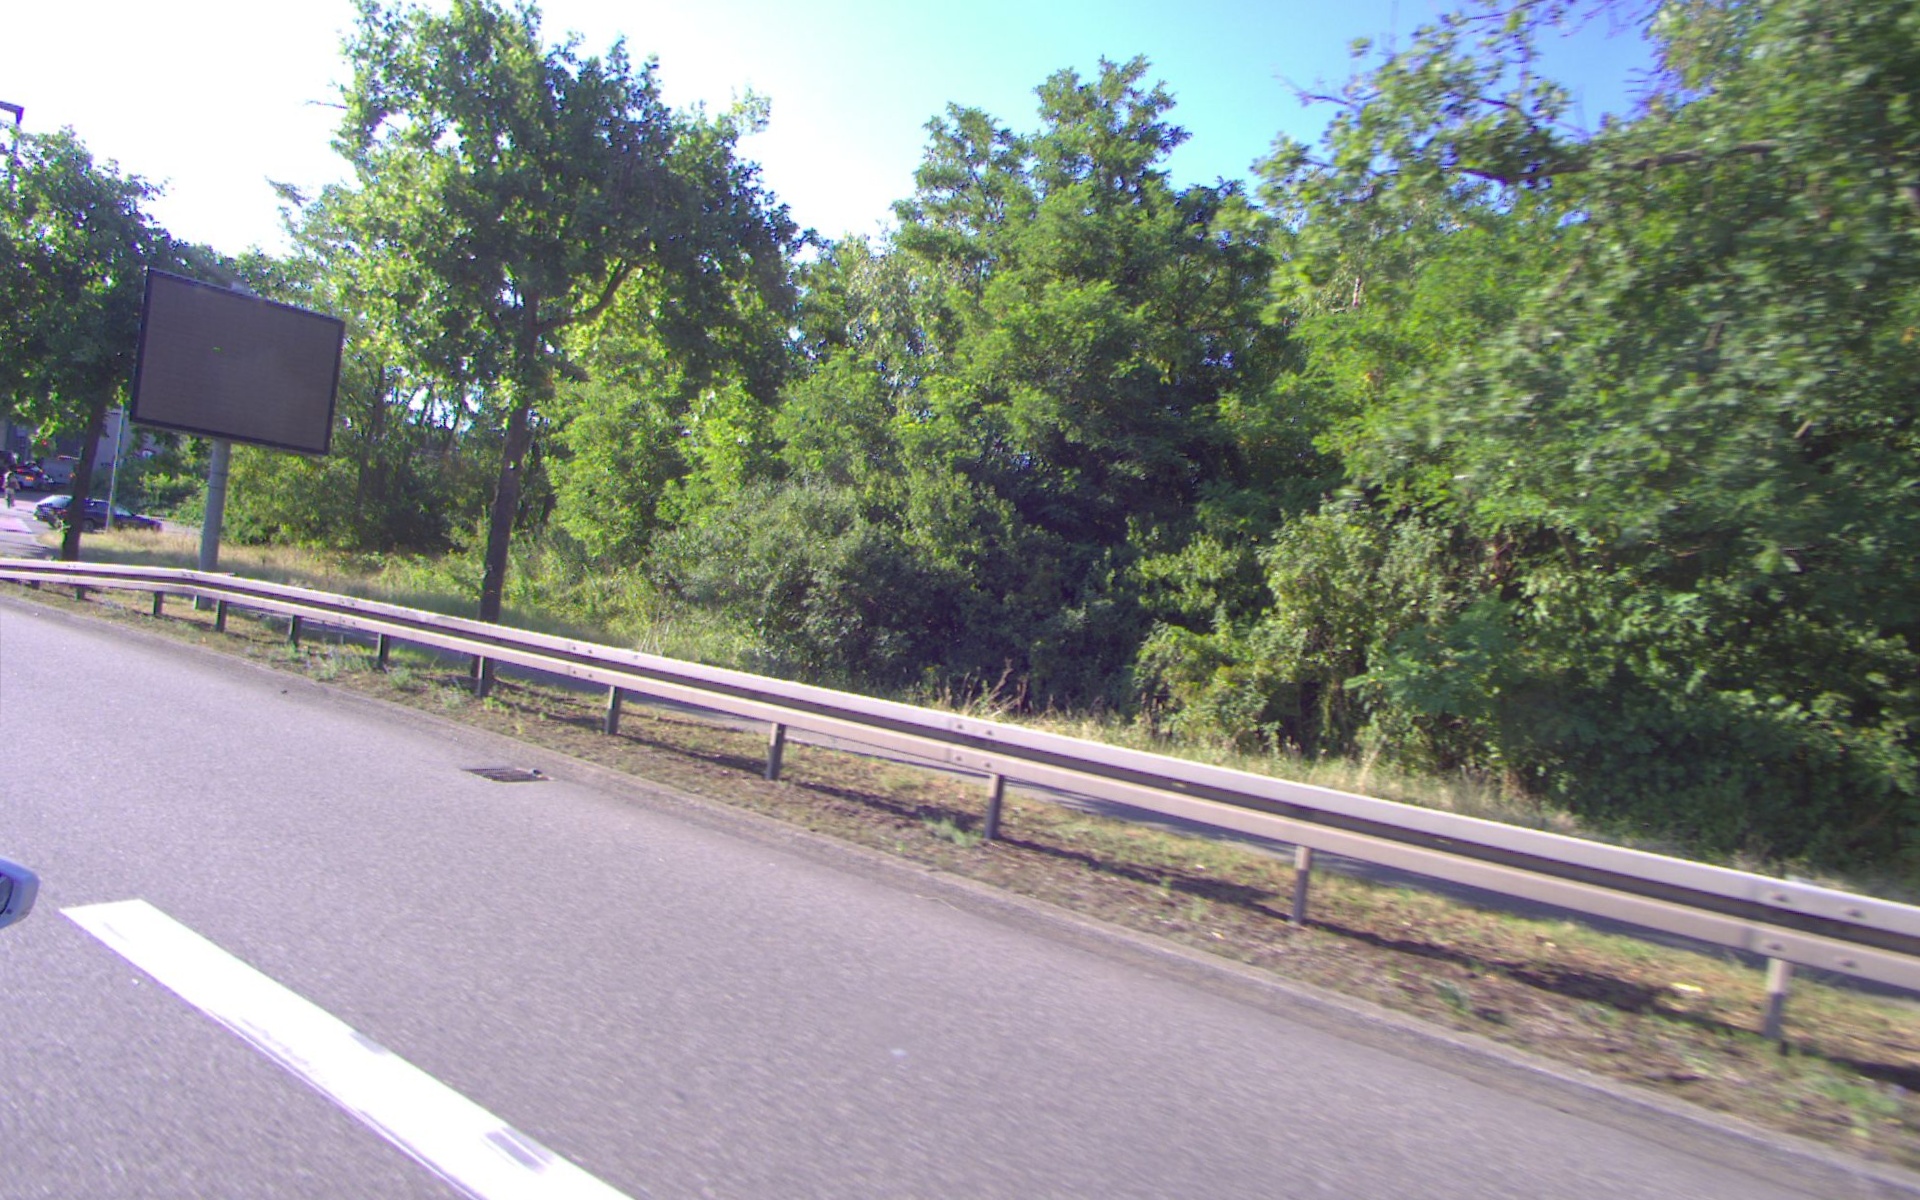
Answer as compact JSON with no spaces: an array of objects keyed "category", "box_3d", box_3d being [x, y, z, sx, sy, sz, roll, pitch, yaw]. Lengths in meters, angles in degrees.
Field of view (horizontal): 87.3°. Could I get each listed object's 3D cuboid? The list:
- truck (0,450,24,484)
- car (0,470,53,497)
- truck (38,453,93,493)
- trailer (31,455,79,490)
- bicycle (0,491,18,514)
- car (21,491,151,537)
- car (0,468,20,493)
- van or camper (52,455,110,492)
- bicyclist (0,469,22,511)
[{"category":"truck","box_3d":[-80.015,-11.206,83.226,2.011,2.587,5.499,8,0,-26]},{"category":"car","box_3d":[-67.953,-8.444,73.313,1.757,1.514,3.804,7,0,-27]},{"category":"truck","box_3d":[-71.513,-10.134,80.501,2.095,2.550,4.369,8,-1,-28]},{"category":"trailer","box_3d":[-78.208,-10.994,86.967,1.847,2.496,3.807,7,1,-25]},{"category":"bicycle","box_3d":[-47.368,-4.857,50.066,0.577,0.975,2.848,8,0,-45]},{"category":"car","box_3d":[-38.137,-3.723,44.032,1.962,1.528,3.999,6,1,5]},{"category":"car","box_3d":[-64.566,-8.046,66.986,1.728,1.472,4.567,9,1,-30]},{"category":"van or camper","box_3d":[-80.363,-11.508,92.038,1.975,2.601,5.884,8,0,-23]},{"category":"bicyclist","box_3d":[-47.238,-5.476,50.030,0.680,1.930,0.822,8,1,-44]}]
